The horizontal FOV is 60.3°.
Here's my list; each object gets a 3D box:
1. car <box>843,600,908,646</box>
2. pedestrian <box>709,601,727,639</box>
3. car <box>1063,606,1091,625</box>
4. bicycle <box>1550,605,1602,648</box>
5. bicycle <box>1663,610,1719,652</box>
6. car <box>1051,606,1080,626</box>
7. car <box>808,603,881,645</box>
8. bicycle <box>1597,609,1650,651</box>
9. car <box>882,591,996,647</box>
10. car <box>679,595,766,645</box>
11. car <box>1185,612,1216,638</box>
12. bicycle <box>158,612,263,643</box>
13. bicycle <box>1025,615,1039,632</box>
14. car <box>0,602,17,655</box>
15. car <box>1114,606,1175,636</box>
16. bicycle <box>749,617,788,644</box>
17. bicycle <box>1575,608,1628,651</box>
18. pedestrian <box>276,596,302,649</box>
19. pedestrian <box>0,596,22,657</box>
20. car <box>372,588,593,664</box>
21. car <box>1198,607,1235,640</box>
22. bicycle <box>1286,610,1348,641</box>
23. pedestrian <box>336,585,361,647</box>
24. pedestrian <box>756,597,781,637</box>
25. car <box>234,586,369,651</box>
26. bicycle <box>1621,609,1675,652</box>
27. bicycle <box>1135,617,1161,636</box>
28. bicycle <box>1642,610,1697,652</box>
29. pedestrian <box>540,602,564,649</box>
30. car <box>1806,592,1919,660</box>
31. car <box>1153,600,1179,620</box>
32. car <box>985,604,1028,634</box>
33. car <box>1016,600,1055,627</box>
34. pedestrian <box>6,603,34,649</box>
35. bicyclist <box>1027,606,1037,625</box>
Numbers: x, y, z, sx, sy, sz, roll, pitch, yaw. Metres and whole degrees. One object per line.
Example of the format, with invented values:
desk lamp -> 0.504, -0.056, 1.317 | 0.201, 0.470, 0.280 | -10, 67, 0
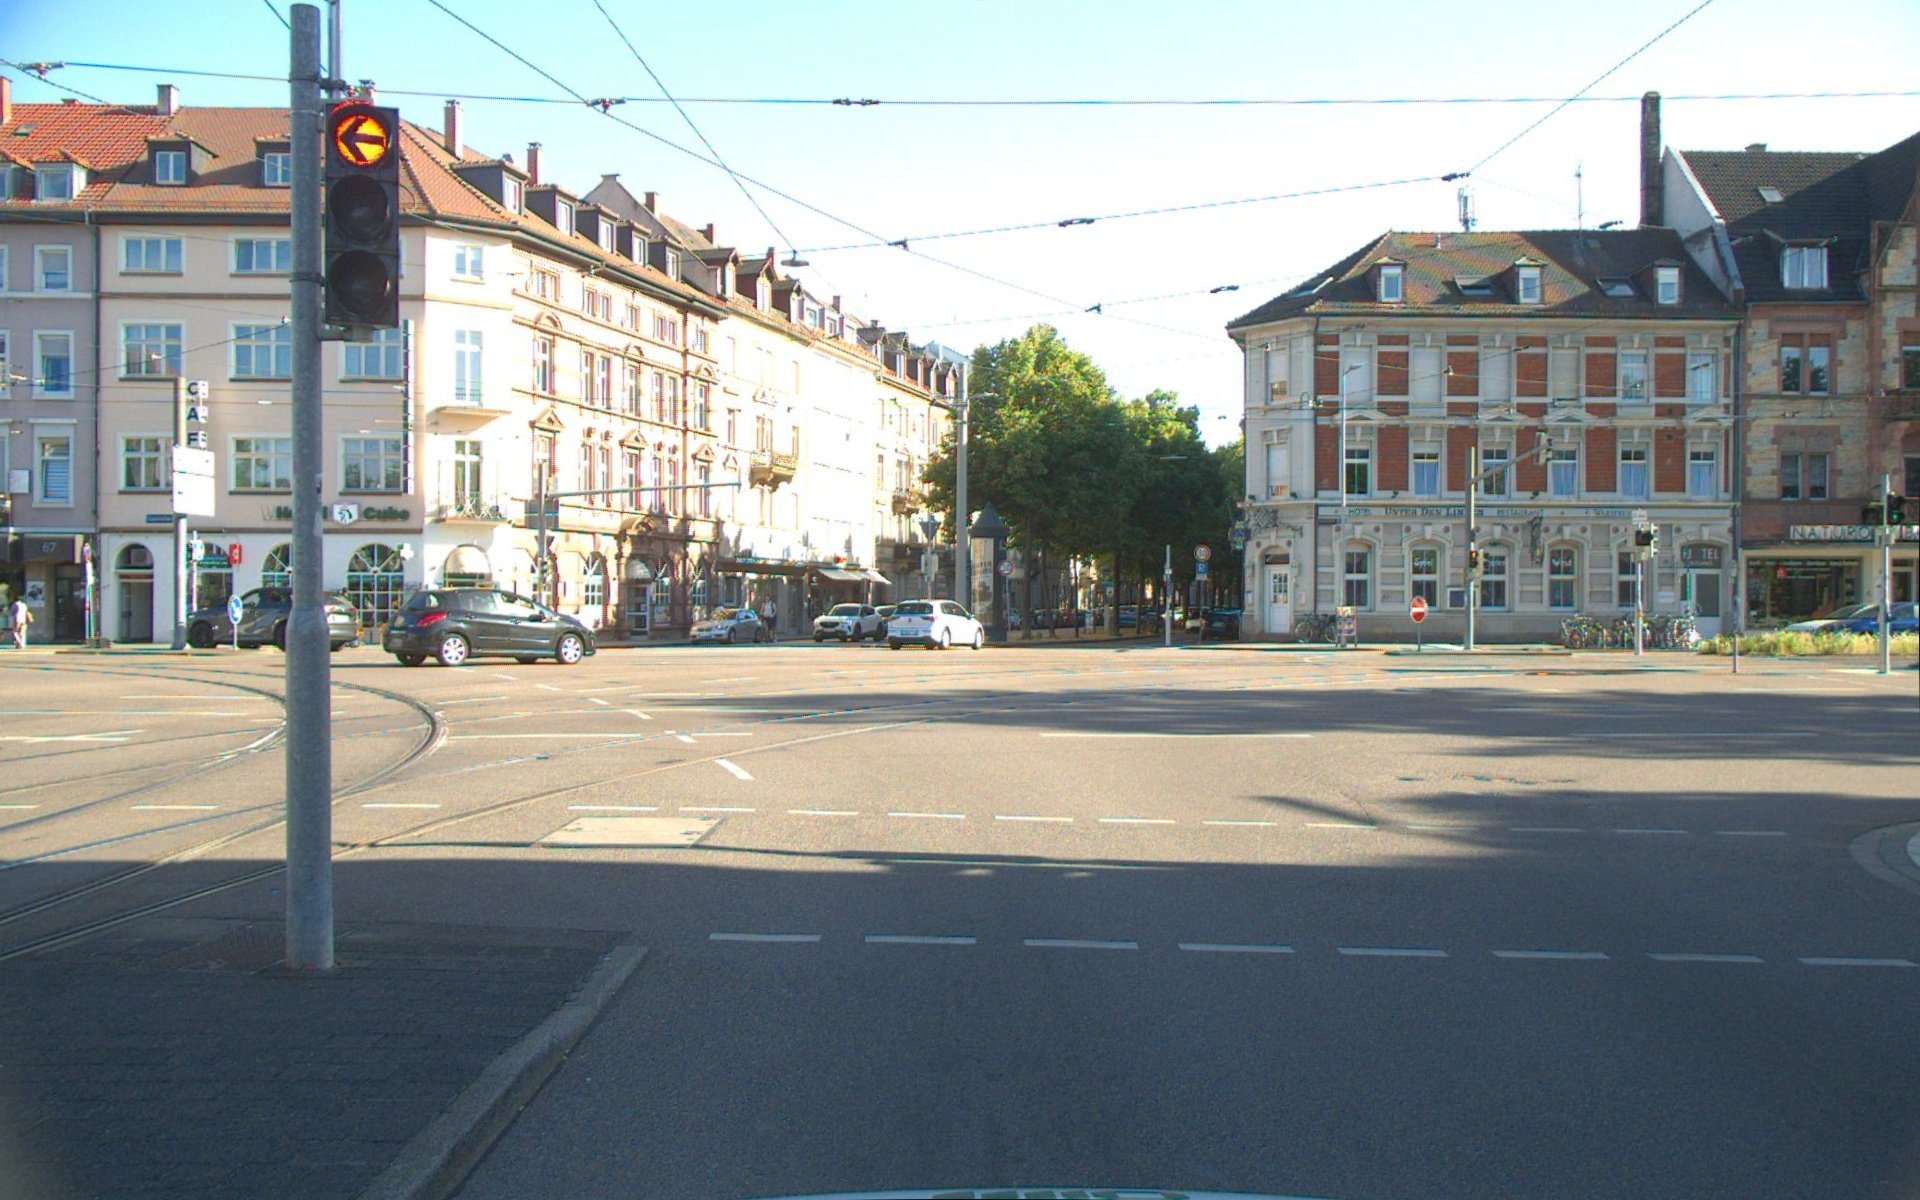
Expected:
car -> -3.717, 0.999, 73.534 | 1.951, 1.937, 4.003 | 1, 0, 11
pedestrian -> -10.514, 0.872, 71.955 | 0.532, 1.660, 0.707 | 1, -1, 13
car -> 9.637, 1.301, 136.493 | 1.526, 1.540, 3.658 | 1, 0, 16
bicycle -> 19.769, 0.834, 53.101 | 0.678, 1.309, 2.661 | 1, 0, 0
bicycle -> 23.482, 0.989, 53.177 | 0.615, 1.309, 2.661 | 1, 0, 0
car -> 8.445, 1.280, 132.032 | 1.526, 1.540, 3.658 | 1, 0, 16
car -> -4.651, 0.957, 67.168 | 1.951, 1.646, 4.003 | 1, 0, 11
bicycle -> 21.306, 0.937, 53.151 | 0.615, 1.309, 2.661 | 1, 0, 0
car -> -0.570, 0.561, 48.571 | 1.737, 1.557, 3.996 | 1, 0, 26
car -> -9.562, 0.804, 66.957 | 1.951, 1.937, 4.002 | 1, 0, 17
car -> 14.847, 1.525, 102.054 | 1.655, 1.592, 3.844 | 1, 0, 11
bicycle -> -25.517, 0.936, 56.353 | 3.066, 0.997, 1.001 | 1, 0, -1
bicycle -> 4.984, 1.609, 114.162 | 0.613, 1.104, 1.704 | 1, 0, 15
car -> -32.387, 0.907, 52.432 | 3.902, 1.699, 2.002 | 0, 0, 8
car -> 12.850, 1.456, 115.155 | 3.902, 1.937, 2.001 | 1, 0, 15
bicycle -> -7.530, 1.201, 65.161 | 0.746, 1.025, 2.398 | 1, 0, 13
bicycle -> 20.595, 0.929, 53.130 | 0.678, 1.309, 2.661 | 1, 0, 0
pedestrian -> -21.085, 0.715, 51.952 | 0.620, 1.640, 0.465 | 1, -1, -5
pedestrian -> -25.684, 0.715, 44.486 | 0.621, 1.640, 0.464 | 1, -1, -8
car -> -9.300, 0.507, 32.394 | 1.730, 1.386, 3.827 | 1, 0, 45
car -> 12.867, 1.150, 82.778 | 1.655, 1.592, 3.844 | 1, 0, 11
bicycle -> 12.350, 0.871, 57.274 | 2.006, 1.015, 0.631 | 1, 0, 2
pedestrian -> -19.275, 0.504, 52.138 | 0.620, 1.914, 0.465 | 1, -1, -5
pedestrian -> -7.542, 0.662, 65.090 | 0.803, 1.539, 0.598 | 1, -1, 14
car -> -17.565, 0.468, 44.063 | 1.939, 1.646, 4.111 | 1, 0, -44
bicycle -> 22.083, 0.961, 53.154 | 0.615, 1.309, 2.661 | 1, 0, 0
bicycle -> 11.281, 1.565, 99.226 | 0.619, 1.104, 1.685 | 1, 0, -31
bicycle -> 22.798, 0.969, 53.178 | 0.615, 1.309, 2.661 | 1, 0, 0
pedestrian -> -14.605, 0.921, 59.192 | 0.532, 1.660, 0.707 | 1, -1, 13
car -> 25.931, 0.731, 46.053 | 3.706, 1.809, 1.999 | 1, 0, -2
car -> 16.778, 0.823, 134.816 | 1.526, 1.540, 3.658 | 1, 0, 16
car -> 3.179, 1.278, 112.739 | 1.951, 1.937, 4.002 | 1, 0, 16
car -> 5.619, 1.009, 122.615 | 1.951, 1.937, 4.002 | 1, 0, 16
pedestrian -> -30.724, 0.855, 54.065 | 0.620, 1.502, 0.465 | 1, -1, -5
bicyclist -> 4.962, 1.093, 114.095 | 0.613, 1.288, 0.559 | 1, -1, 15
